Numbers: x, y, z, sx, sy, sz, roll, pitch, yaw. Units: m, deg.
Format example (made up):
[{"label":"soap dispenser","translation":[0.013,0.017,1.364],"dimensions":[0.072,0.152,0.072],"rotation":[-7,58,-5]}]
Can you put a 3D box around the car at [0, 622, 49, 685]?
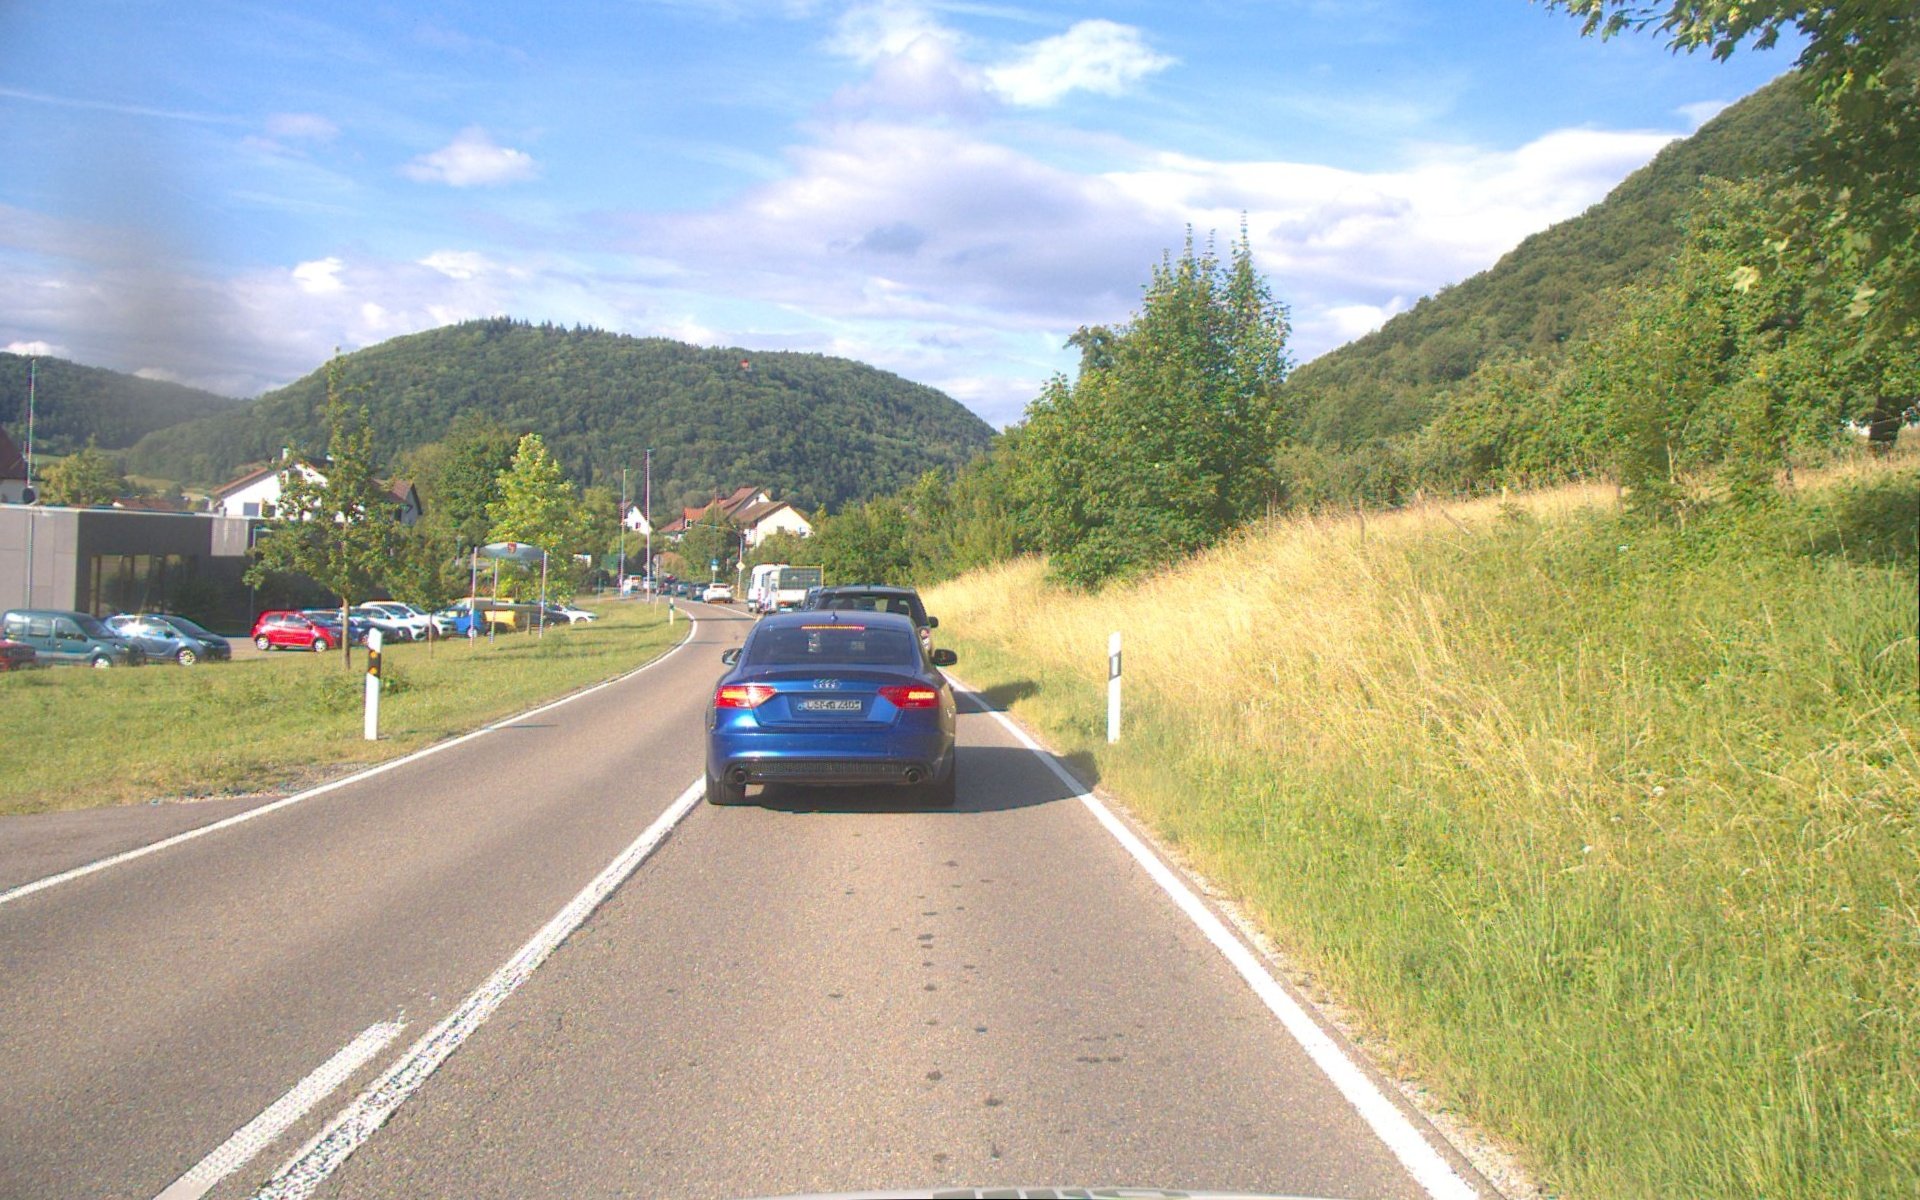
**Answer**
[{"label":"car","translation":[-26.444,1.396,43.658],"dimensions":[3.837,1.606,1.756],"rotation":[0,0,3]}]

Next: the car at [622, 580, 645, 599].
[{"label":"car","translation":[-34.537,-1.087,174.871],"dimensions":[1.654,1.958,3.972],"rotation":[-1,0,-23]}]

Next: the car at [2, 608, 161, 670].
[{"label":"car","translation":[-26.176,1.154,49.339],"dimensions":[3.782,1.752,1.756],"rotation":[1,0,1]}]

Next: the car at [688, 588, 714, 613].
[{"label":"car","translation":[-20.726,0.019,132.244],"dimensions":[1.632,1.958,3.984],"rotation":[-1,0,-15]}]

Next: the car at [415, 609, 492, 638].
[{"label":"car","translation":[-24.985,1.149,81.624],"dimensions":[3.302,1.397,1.659],"rotation":[0,0,-4]}]

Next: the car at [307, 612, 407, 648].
[{"label":"car","translation":[-25.168,1.231,69.116],"dimensions":[3.548,1.429,1.597],"rotation":[0,1,4]}]

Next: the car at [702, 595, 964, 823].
[{"label":"car","translation":[-0.966,0.712,12.691],"dimensions":[1.708,1.476,3.514],"rotation":[-1,0,-4]}]

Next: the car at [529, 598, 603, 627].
[{"label":"car","translation":[-23.544,0.735,98.814],"dimensions":[3.951,1.689,1.656],"rotation":[0,0,4]}]

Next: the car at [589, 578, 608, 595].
[{"label":"car","translation":[-42.324,-1.604,193.453],"dimensions":[1.653,1.958,3.975],"rotation":[-1,0,-21]}]

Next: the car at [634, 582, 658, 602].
[{"label":"car","translation":[-31.510,-0.794,165.680],"dimensions":[1.653,1.958,3.974],"rotation":[-1,0,-22]}]

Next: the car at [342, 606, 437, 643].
[{"label":"car","translation":[-24.933,1.077,72.325],"dimensions":[3.589,1.519,1.598],"rotation":[0,1,4]}]

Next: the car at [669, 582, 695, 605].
[{"label":"car","translation":[-24.416,-0.527,145.195],"dimensions":[1.634,1.958,3.979],"rotation":[-1,0,-18]}]

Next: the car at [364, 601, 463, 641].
[{"label":"car","translation":[-25.027,0.959,75.805],"dimensions":[3.991,1.702,1.598],"rotation":[0,2,4]}]

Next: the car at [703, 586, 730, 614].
[{"label":"car","translation":[-17.737,-0.013,120.432],"dimensions":[1.631,1.958,3.986],"rotation":[-1,0,-13]}]

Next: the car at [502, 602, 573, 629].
[{"label":"car","translation":[-24.127,0.882,94.438],"dimensions":[3.634,1.464,1.510],"rotation":[0,0,4]}]

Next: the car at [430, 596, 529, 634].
[{"label":"car","translation":[-24.447,0.765,84.283],"dimensions":[4.457,1.846,1.842],"rotation":[0,0,4]}]

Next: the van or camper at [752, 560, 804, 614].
[{"label":"van or camper","translation":[-9.626,-0.668,87.016],"dimensions":[2.240,2.761,5.751],"rotation":[-1,0,-11]}]

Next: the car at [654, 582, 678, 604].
[{"label":"car","translation":[-27.478,-0.627,154.498],"dimensions":[1.652,1.958,3.977],"rotation":[-1,0,-20]}]

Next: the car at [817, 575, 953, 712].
[{"label":"car","translation":[-1.074,0.533,22.150],"dimensions":[1.613,1.653,3.513],"rotation":[1,0,-5]}]

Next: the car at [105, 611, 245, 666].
[{"label":"car","translation":[-25.564,1.238,53.912],"dimensions":[3.738,1.752,1.733],"rotation":[0,0,3]}]

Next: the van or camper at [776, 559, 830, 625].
[{"label":"van or camper","translation":[-6.492,-0.309,67.756],"dimensions":[2.013,2.549,5.802],"rotation":[-1,0,-7]}]

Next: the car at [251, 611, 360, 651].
[{"label":"car","translation":[-25.338,1.202,64.056],"dimensions":[3.548,1.469,1.649],"rotation":[0,0,4]}]
